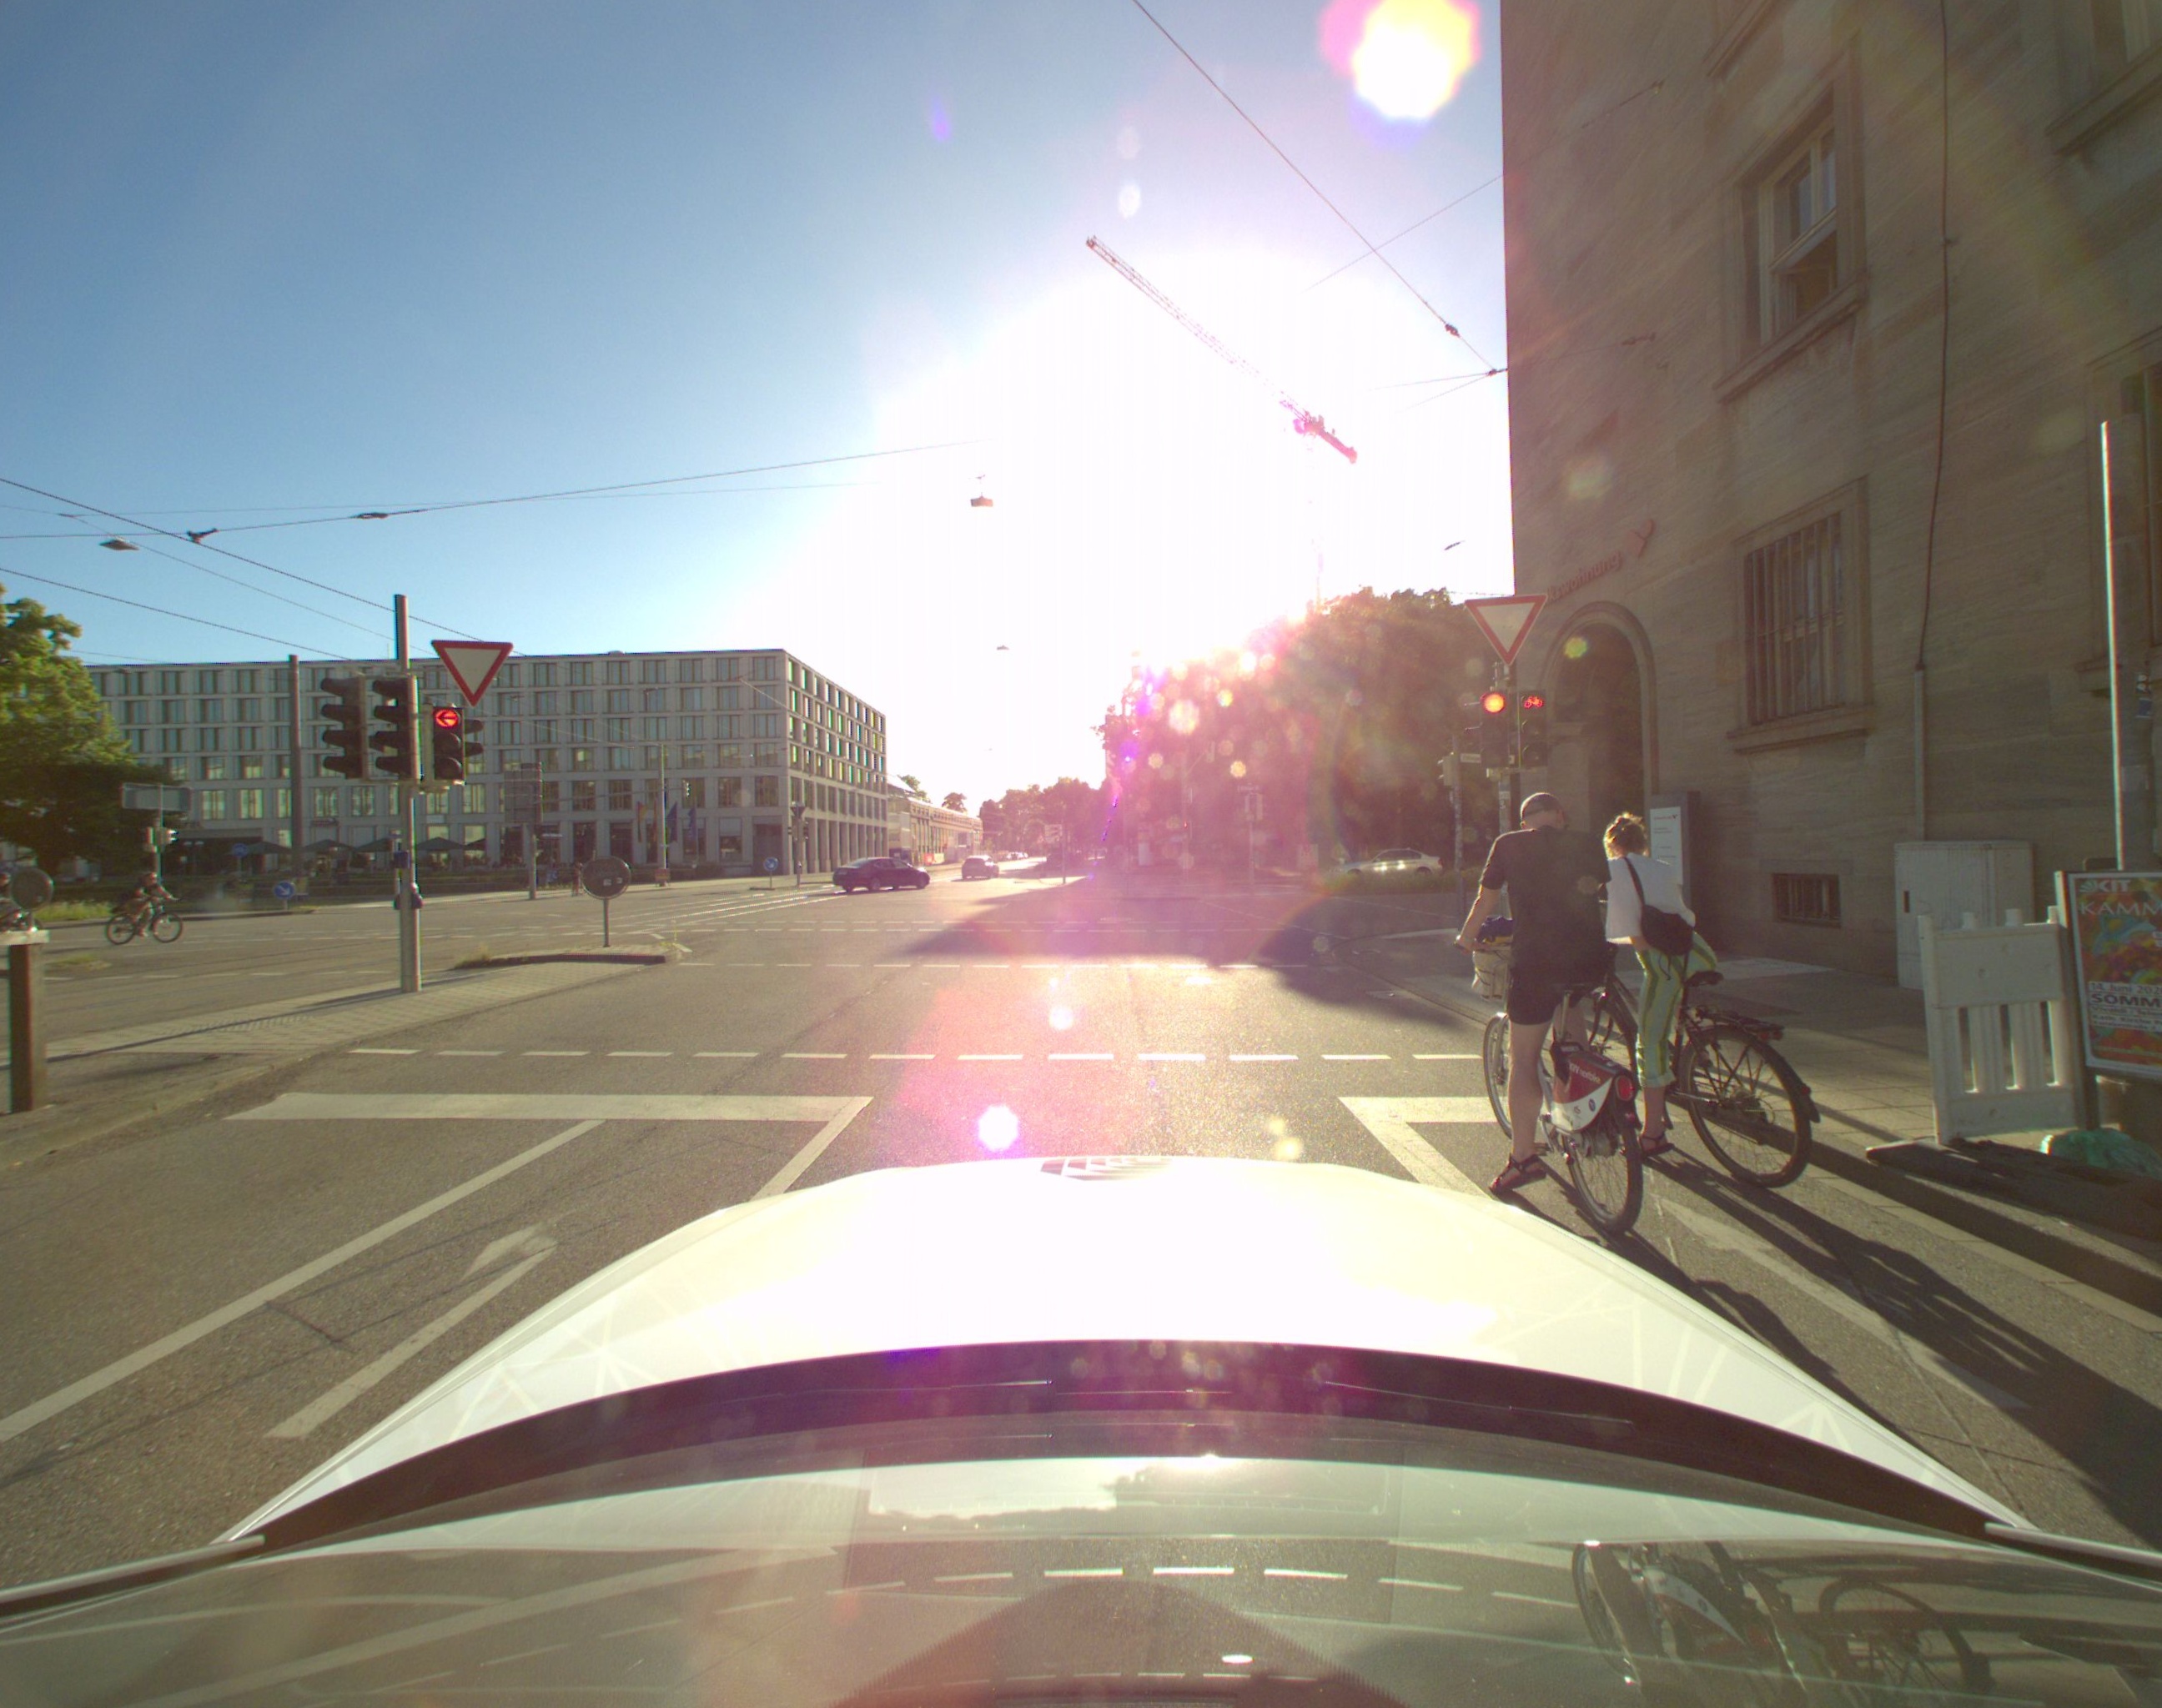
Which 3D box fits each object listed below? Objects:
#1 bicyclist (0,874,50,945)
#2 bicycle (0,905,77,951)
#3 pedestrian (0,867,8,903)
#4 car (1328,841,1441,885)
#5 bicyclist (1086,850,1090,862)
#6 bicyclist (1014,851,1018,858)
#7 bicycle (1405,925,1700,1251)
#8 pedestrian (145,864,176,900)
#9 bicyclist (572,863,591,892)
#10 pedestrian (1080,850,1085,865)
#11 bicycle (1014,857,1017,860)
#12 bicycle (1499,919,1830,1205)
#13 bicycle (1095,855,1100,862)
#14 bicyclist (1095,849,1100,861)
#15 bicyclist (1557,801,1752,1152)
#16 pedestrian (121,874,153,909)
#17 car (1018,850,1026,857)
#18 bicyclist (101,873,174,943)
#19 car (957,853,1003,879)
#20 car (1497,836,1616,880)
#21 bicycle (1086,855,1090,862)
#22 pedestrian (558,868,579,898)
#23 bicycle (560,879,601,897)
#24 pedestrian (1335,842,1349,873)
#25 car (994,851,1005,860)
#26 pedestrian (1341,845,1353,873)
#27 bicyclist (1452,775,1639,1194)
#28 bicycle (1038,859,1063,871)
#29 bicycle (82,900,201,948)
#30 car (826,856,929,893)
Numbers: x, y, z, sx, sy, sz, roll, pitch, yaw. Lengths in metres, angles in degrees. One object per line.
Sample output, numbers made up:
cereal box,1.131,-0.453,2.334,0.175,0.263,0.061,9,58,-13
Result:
bicyclist,-23.574,1.227,17.992,0.761,1.524,0.606,-2,0,-3
bicycle,-23.512,1.647,17.982,1.853,0.935,0.559,-2,0,-4
pedestrian,-60.571,1.746,45.239,0.838,2.014,0.825,0,-1,4
car,12.351,0.351,33.267,3.979,1.611,1.650,-2,0,1
bicyclist,1.028,0.238,117.308,0.567,1.691,0.700,-2,0,1
bicyclist,-11.498,0.093,143.456,0.594,1.377,0.637,0,-1,0
bicycle,2.127,0.958,3.948,0.513,1.077,1.729,-1,0,4
pedestrian,-51.718,1.549,45.772,0.837,2.014,0.827,-1,-1,11
bicyclist,-28.721,1.342,46.794,0.778,1.589,0.756,-2,0,-22
pedestrian,0.163,0.390,98.519,0.462,1.813,0.502,-2,0,-3
bicycle,-11.512,0.750,143.388,0.499,0.515,1.258,0,-1,1
bicycle,2.949,0.959,4.364,0.532,1.077,1.751,-1,0,1
bicycle,2.374,0.625,117.160,0.573,1.077,1.831,-2,0,1
bicyclist,2.371,0.162,117.176,0.567,1.691,0.700,-2,0,1
bicyclist,2.960,0.592,4.257,0.556,1.691,0.640,-1,0,0
pedestrian,-51.755,2.064,44.669,0.711,1.900,0.877,-1,-1,11
car,-14.241,-0.129,195.332,1.688,1.718,4.245,0,-1,-1
bicyclist,-20.224,1.141,17.472,0.796,1.450,0.617,-1,0,-1
car,-6.509,0.715,52.853,1.882,1.565,4.815,1,0,6
car,19.208,0.156,32.990,3.835,1.611,1.650,-2,0,1
bicycle,1.049,0.635,117.367,0.573,1.077,1.831,-2,0,1
pedestrian,-28.627,1.619,45.491,0.774,1.589,0.589,-2,0,-8
bicycle,-28.733,1.931,46.791,1.865,0.935,0.757,-2,0,-23
pedestrian,14.053,0.188,43.845,0.580,1.663,0.515,0,1,4
car,-15.669,0.256,157.082,1.688,1.718,4.245,0,-1,-1
pedestrian,14.477,0.269,44.332,0.437,1.503,0.437,-2,0,3
bicyclist,2.129,0.562,3.790,0.556,1.799,0.551,-1,0,3
bicycle,-2.568,0.903,67.715,1.996,0.891,0.655,-4,-1,29
bicycle,-20.140,1.493,17.484,1.738,0.935,0.645,-2,0,-2
car,-8.868,0.857,35.818,1.644,1.455,4.460,-1,0,32
